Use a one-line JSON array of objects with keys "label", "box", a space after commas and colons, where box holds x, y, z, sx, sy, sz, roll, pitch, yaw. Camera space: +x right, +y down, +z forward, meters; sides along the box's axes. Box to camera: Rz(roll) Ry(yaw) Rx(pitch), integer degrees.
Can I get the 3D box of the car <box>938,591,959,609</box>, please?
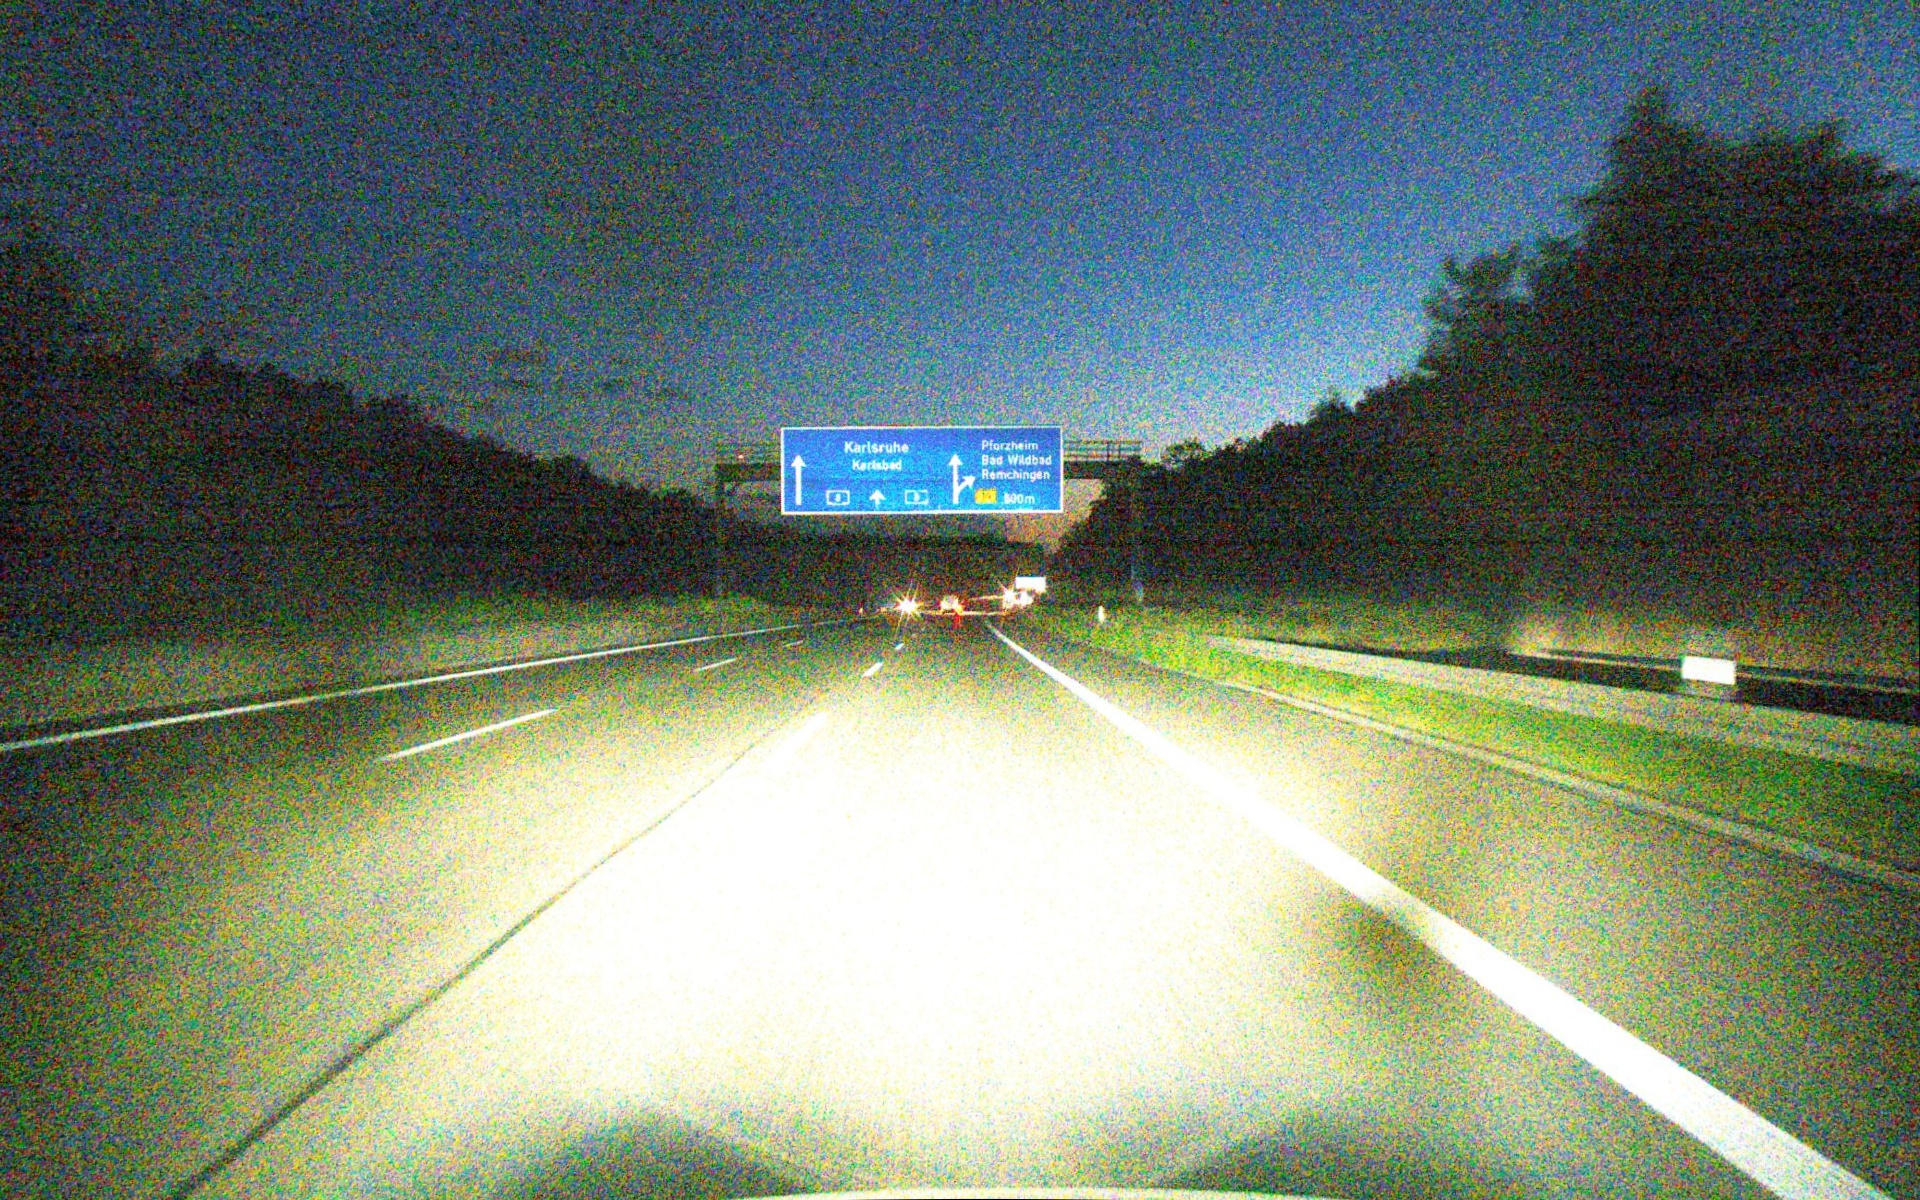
[{"label": "car", "box": [-1.509, 0.075, 220.550, 2.459, 2.354, 4.972, 0, 0, 2]}]
